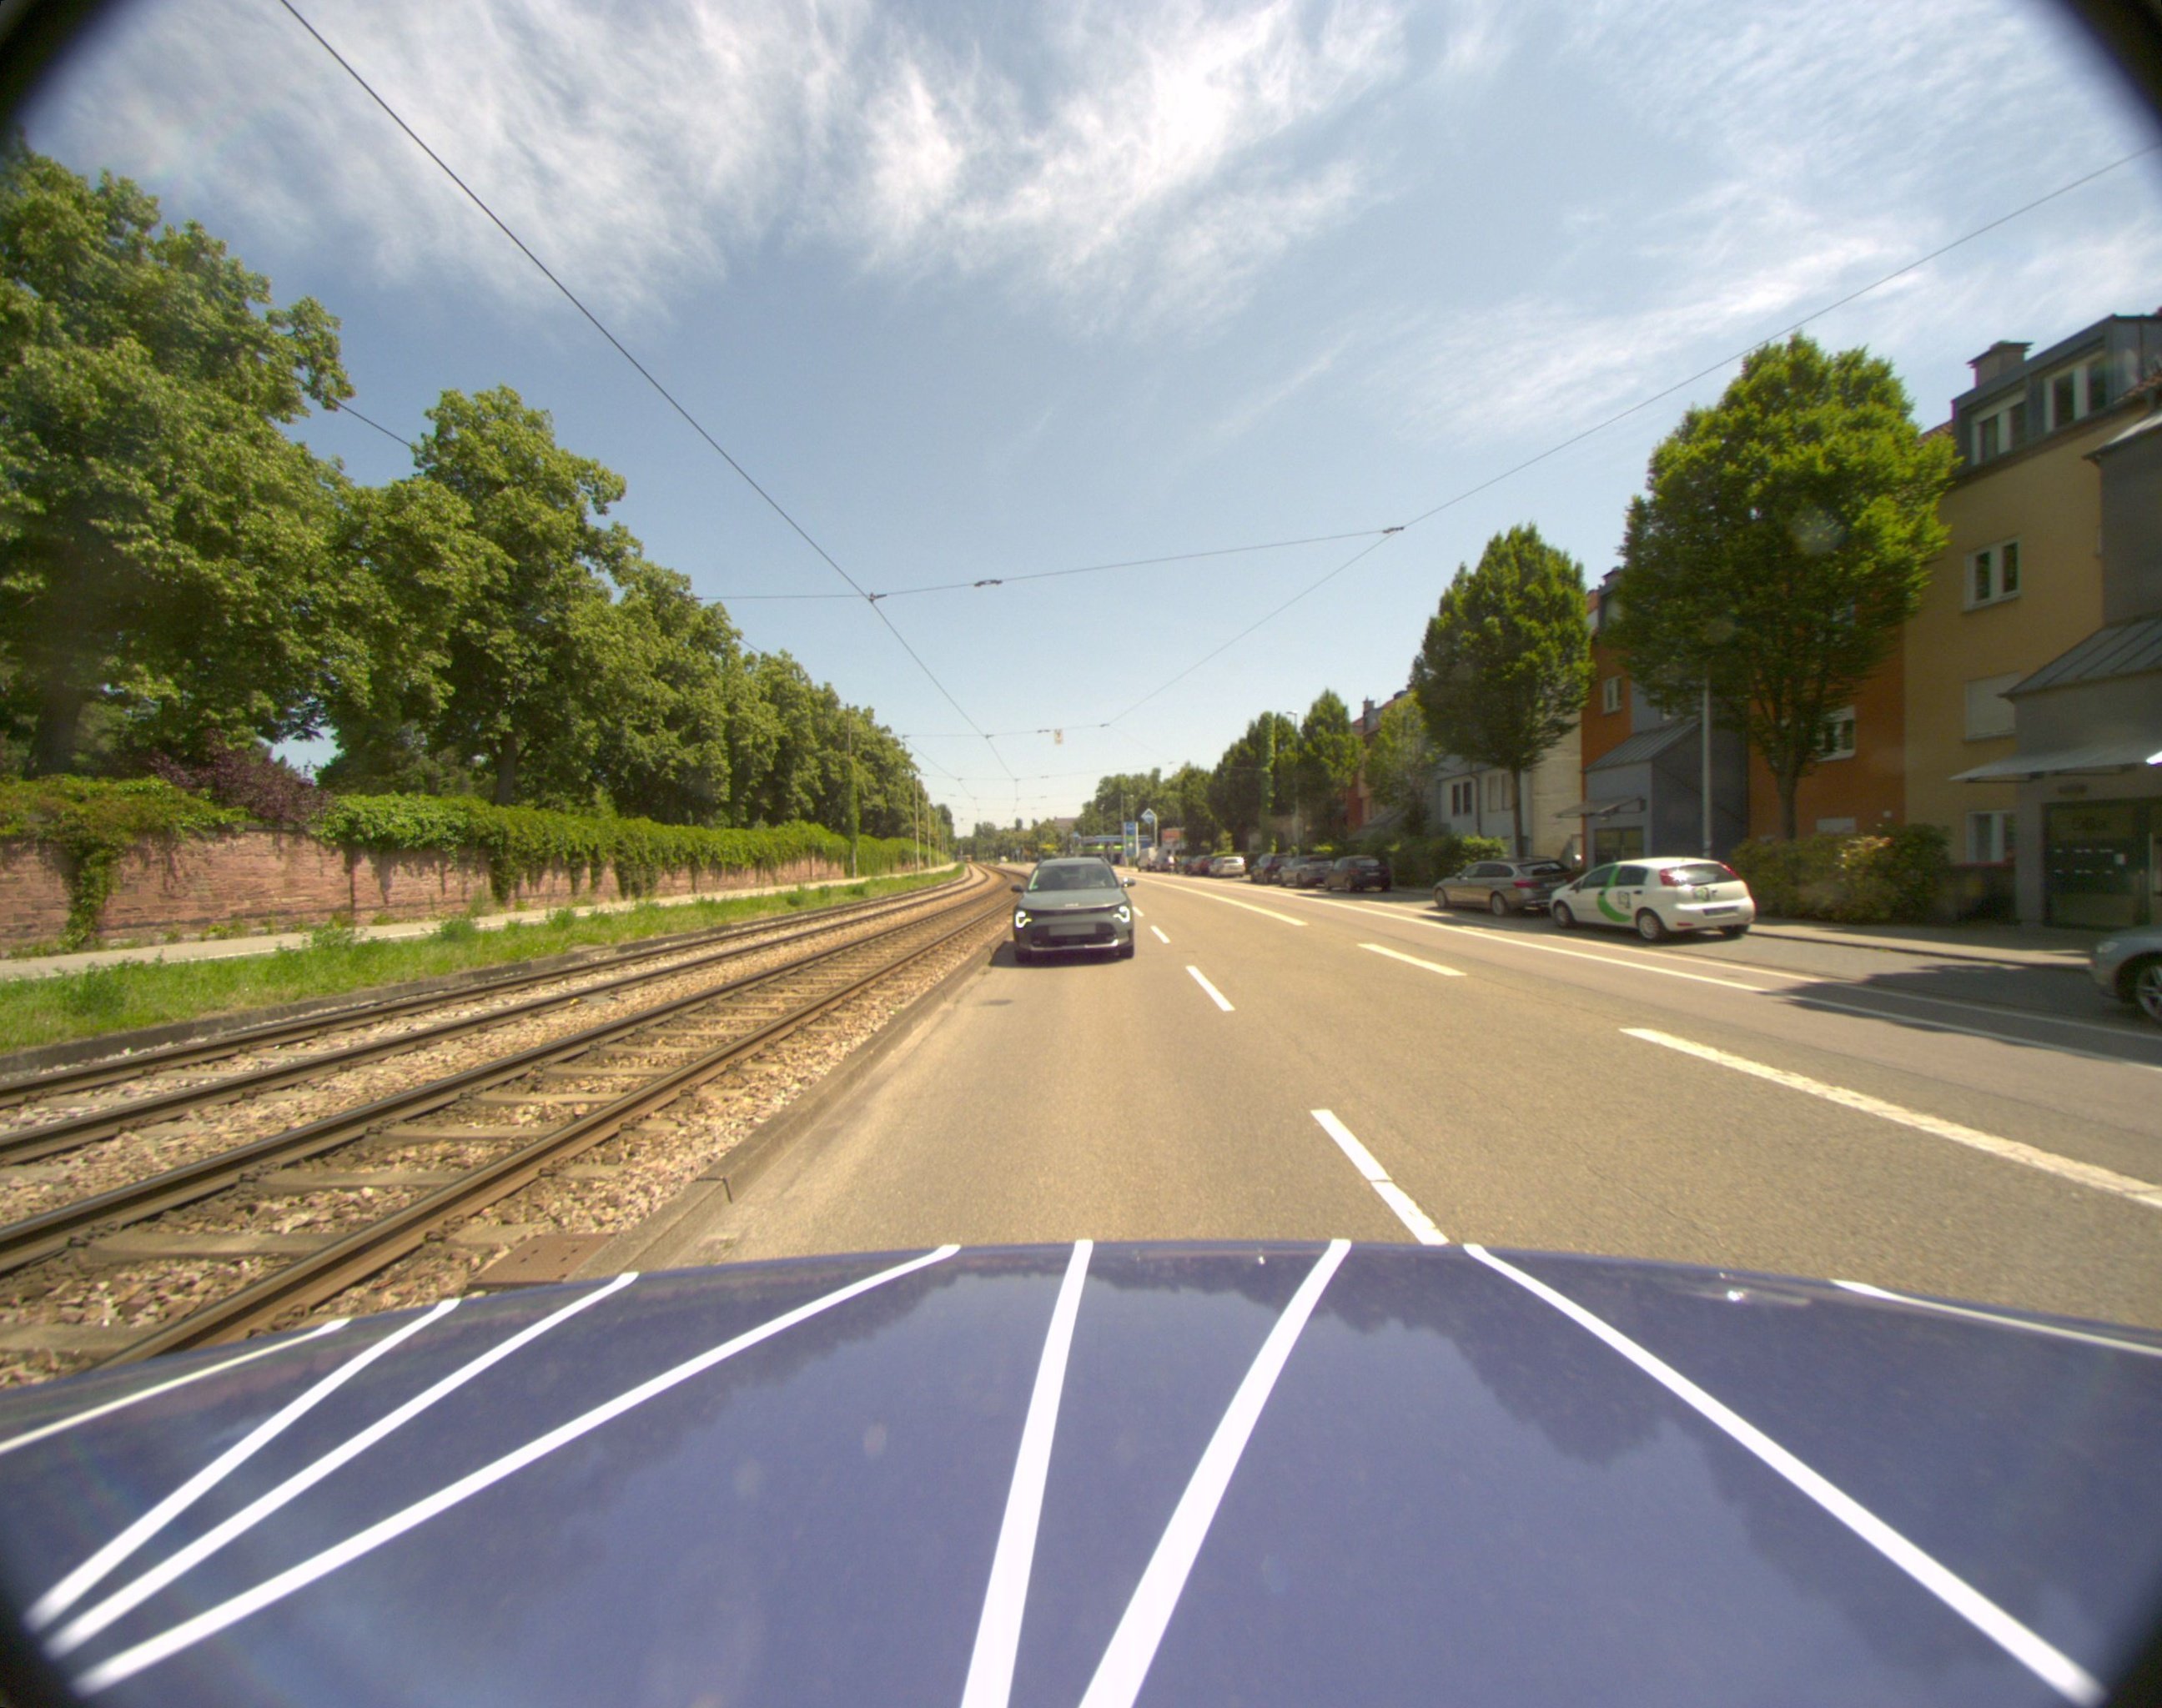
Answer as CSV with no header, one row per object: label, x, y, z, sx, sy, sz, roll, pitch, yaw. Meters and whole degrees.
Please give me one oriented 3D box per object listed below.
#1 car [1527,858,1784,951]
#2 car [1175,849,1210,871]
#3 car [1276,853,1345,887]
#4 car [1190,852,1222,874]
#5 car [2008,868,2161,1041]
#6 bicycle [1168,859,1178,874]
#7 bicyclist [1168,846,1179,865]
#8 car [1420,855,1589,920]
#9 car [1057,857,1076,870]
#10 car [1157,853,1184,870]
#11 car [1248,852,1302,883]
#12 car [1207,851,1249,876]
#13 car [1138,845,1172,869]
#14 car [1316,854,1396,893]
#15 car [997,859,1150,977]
car,11.234,0.885,15.347,1.750,1.434,4.420,-6,0,1
car,9.545,0.505,65.394,1.999,1.783,4.556,-1,0,-5
car,11.114,0.748,37.146,1.830,1.487,4.756,-3,0,-1
car,9.854,0.685,60.185,1.604,1.584,3.680,-3,0,-5
car,10.781,0.909,5.487,1.791,1.441,5.133,-5,-1,0
bicycle,7.410,0.997,61.103,0.641,1.089,1.638,1,1,1
bicyclist,7.437,0.096,61.074,0.737,1.496,0.737,1,2,1
car,11.338,0.820,20.817,1.708,1.421,4.750,-6,0,-2
car,-1.696,1.082,87.619,1.696,1.403,3.513,-2,0,-7
car,8.725,0.721,74.269,1.870,1.528,4.142,-3,0,-4
car,10.877,0.709,42.968,1.772,1.579,4.147,-3,0,-3
car,10.440,0.664,54.291,1.845,1.573,4.495,-3,0,-2
car,7.750,0.334,80.334,2.285,2.294,5.226,-3,0,-8
car,11.424,0.752,31.855,1.754,1.424,4.257,-3,0,0
car,-0.046,0.911,12.630,2.062,1.534,4.000,-3,0,2
